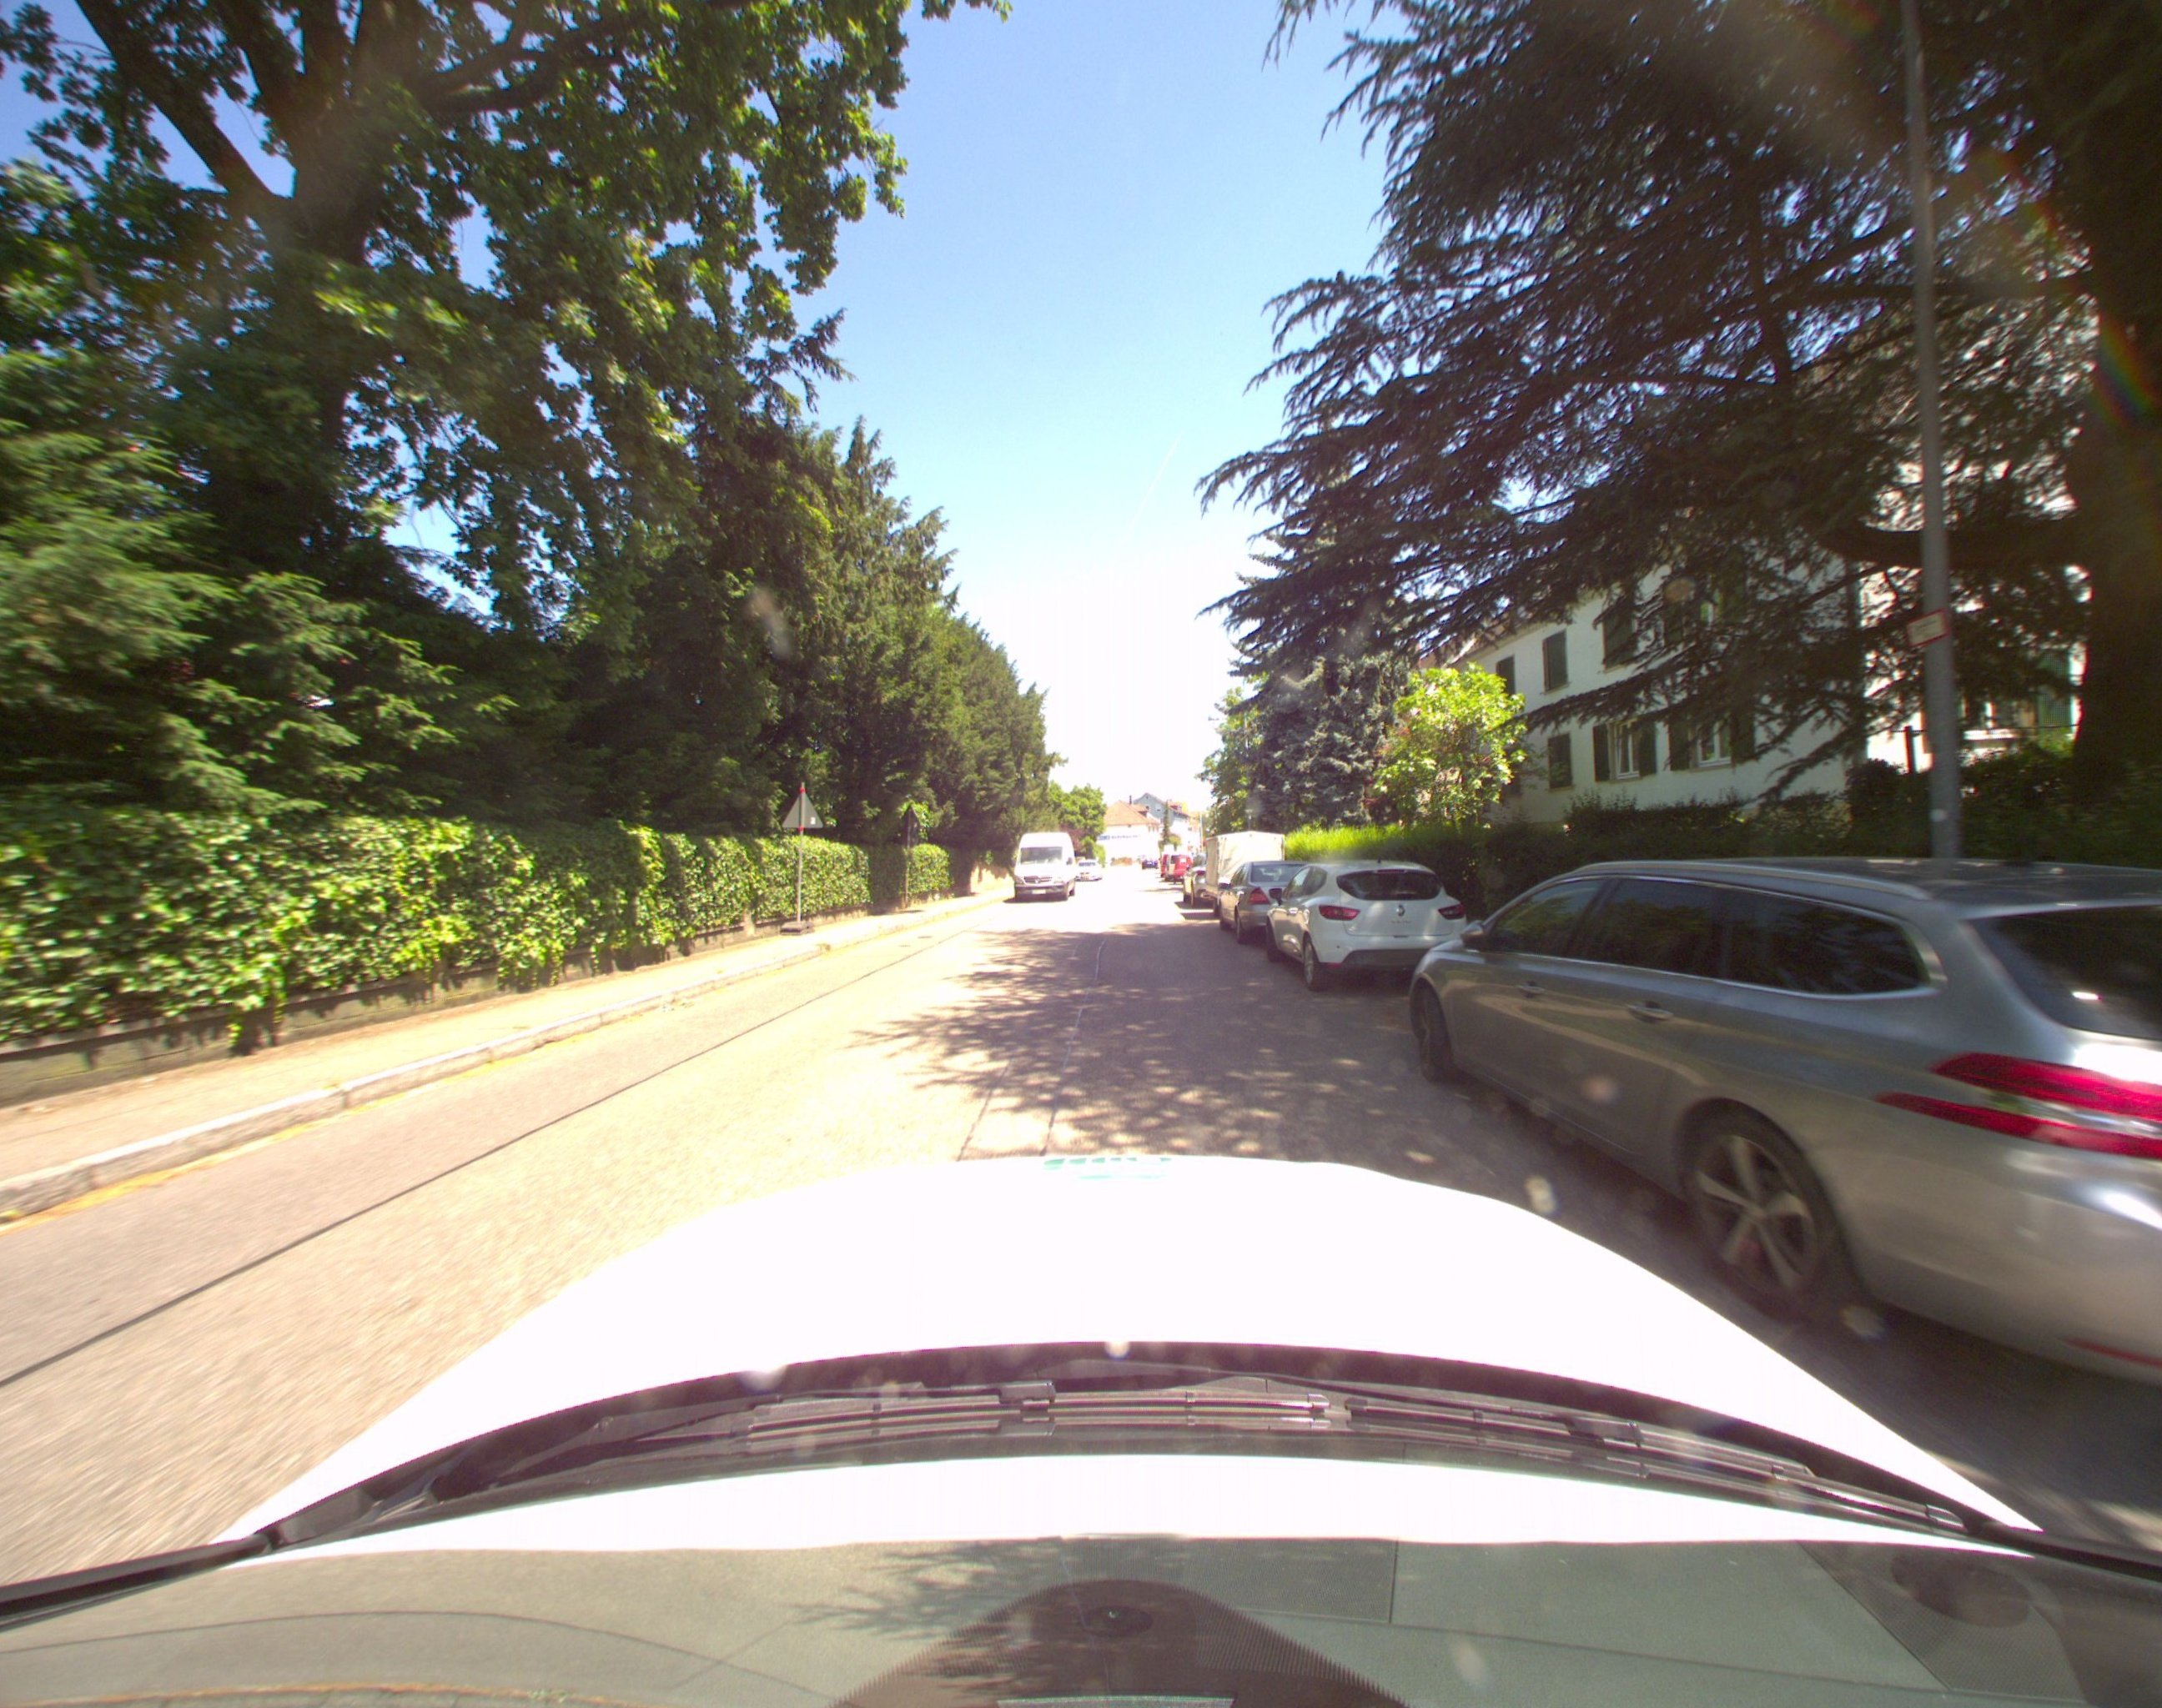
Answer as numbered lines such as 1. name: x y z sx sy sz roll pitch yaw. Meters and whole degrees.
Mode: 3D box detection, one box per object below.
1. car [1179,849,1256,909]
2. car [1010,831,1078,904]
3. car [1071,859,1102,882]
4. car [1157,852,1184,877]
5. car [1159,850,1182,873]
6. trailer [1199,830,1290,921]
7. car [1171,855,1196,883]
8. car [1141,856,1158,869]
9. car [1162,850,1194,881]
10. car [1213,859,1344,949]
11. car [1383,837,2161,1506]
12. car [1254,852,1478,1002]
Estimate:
1. car: 4.137 0.701 25.386 1.764 1.632 4.607 -1 0 2
2. car: -1.342 0.489 32.043 1.985 2.533 5.899 -2 0 3
3. car: 0.444 1.097 56.780 1.856 1.383 4.608 -3 0 3
4. car: 6.540 0.721 59.767 1.894 1.728 4.398 -1 0 5
5. car: 8.049 0.620 73.372 1.894 1.924 4.726 -3 0 5
6. trailer: 4.056 0.471 20.730 1.673 2.068 3.710 -1 0 2
7. car: 5.658 0.808 45.071 1.254 1.495 2.713 -1 0 6
8. car: 8.095 1.019 95.750 1.784 1.510 4.009 -1 0 8
9. car: 5.910 0.649 49.911 1.738 1.782 4.549 -2 0 4
10. car: 3.512 0.811 15.193 1.608 1.396 4.262 -2 0 3
11. car: 2.998 0.725 3.952 1.608 1.451 4.377 -1 -1 3
12. car: 3.369 0.757 10.436 1.608 1.469 4.068 -3 0 3
